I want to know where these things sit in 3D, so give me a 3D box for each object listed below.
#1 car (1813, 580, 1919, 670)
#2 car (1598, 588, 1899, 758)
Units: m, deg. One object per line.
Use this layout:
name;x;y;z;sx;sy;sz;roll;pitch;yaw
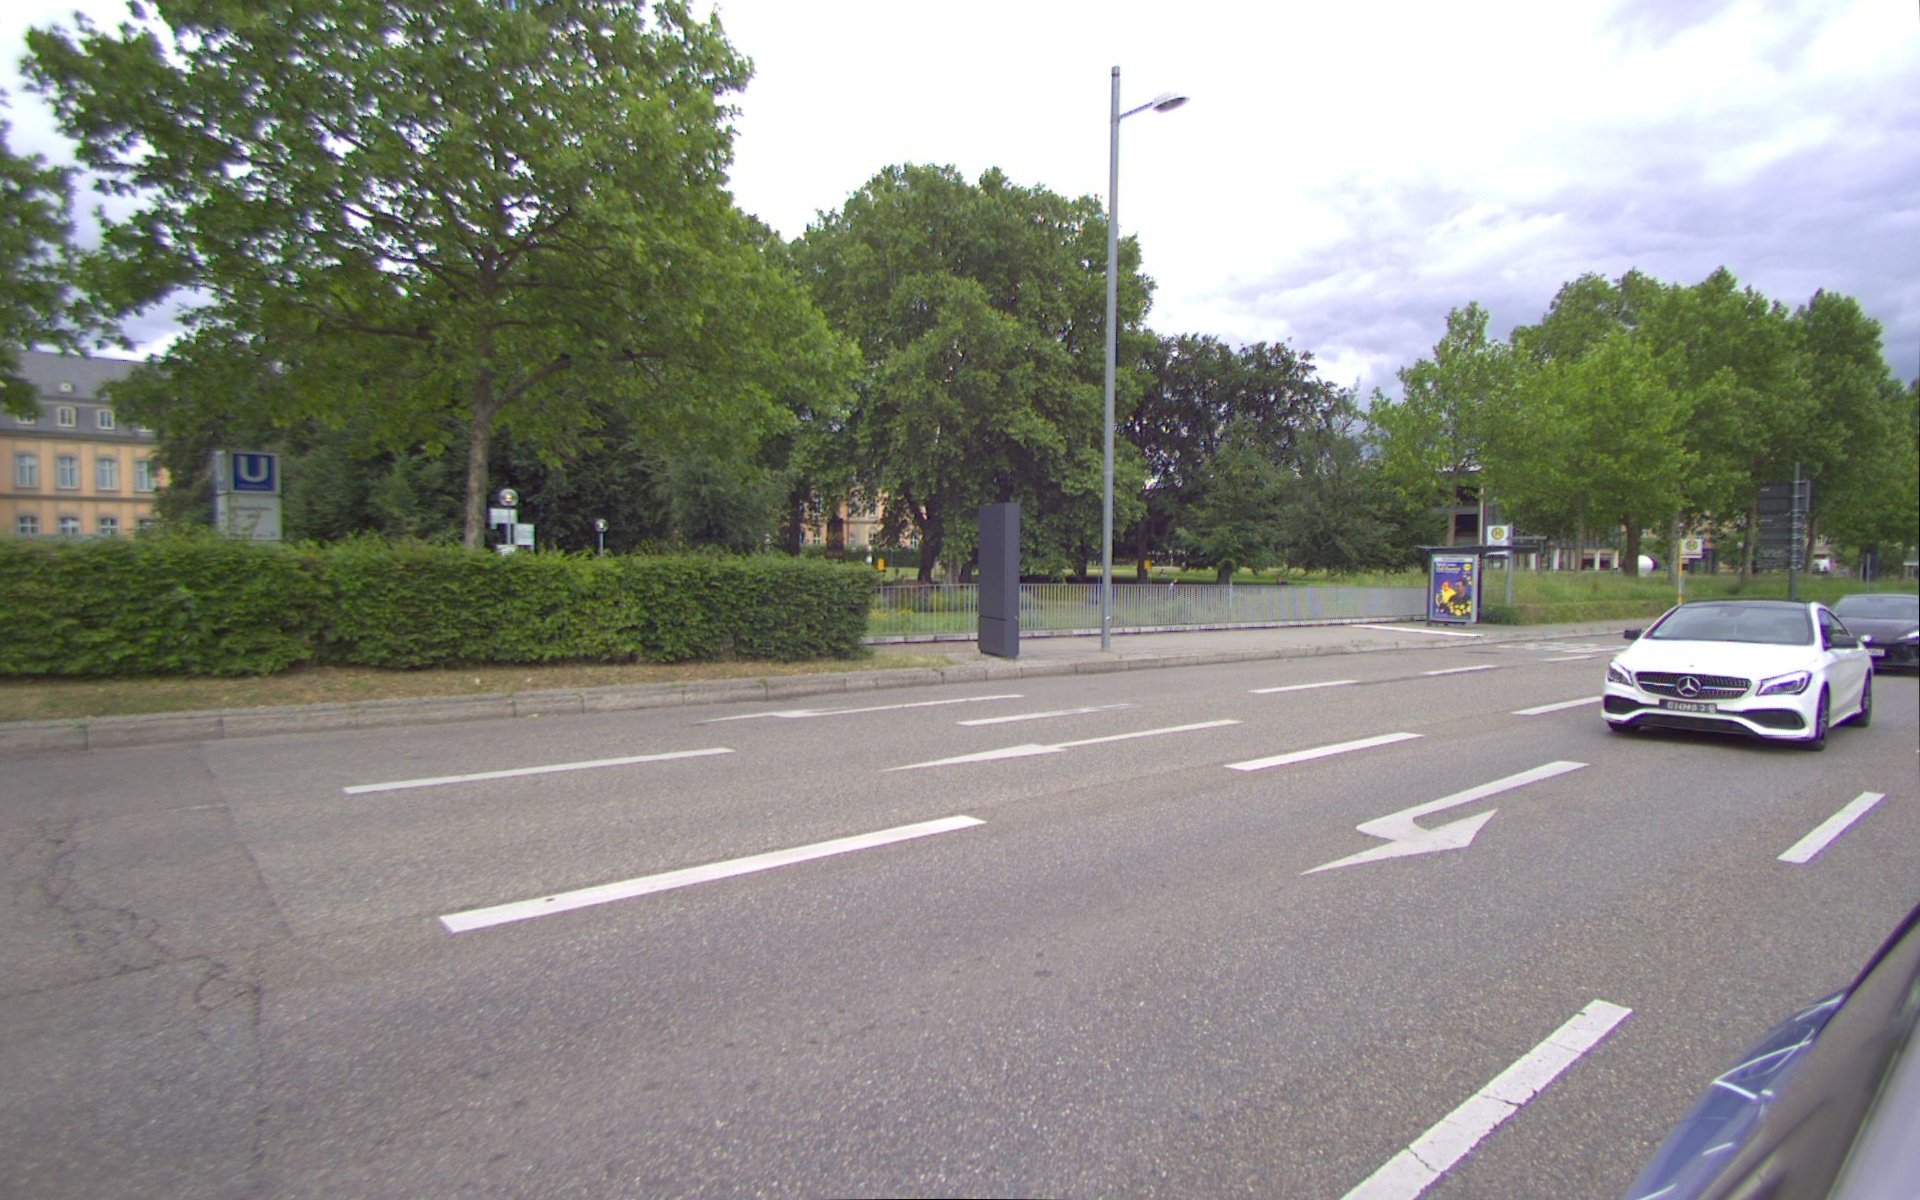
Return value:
car;17.790;0.434;19.206;4.047;1.543;1.829;0;1;-41
car;8.679;0.619;10.990;4.427;1.441;1.722;-1;2;-41
